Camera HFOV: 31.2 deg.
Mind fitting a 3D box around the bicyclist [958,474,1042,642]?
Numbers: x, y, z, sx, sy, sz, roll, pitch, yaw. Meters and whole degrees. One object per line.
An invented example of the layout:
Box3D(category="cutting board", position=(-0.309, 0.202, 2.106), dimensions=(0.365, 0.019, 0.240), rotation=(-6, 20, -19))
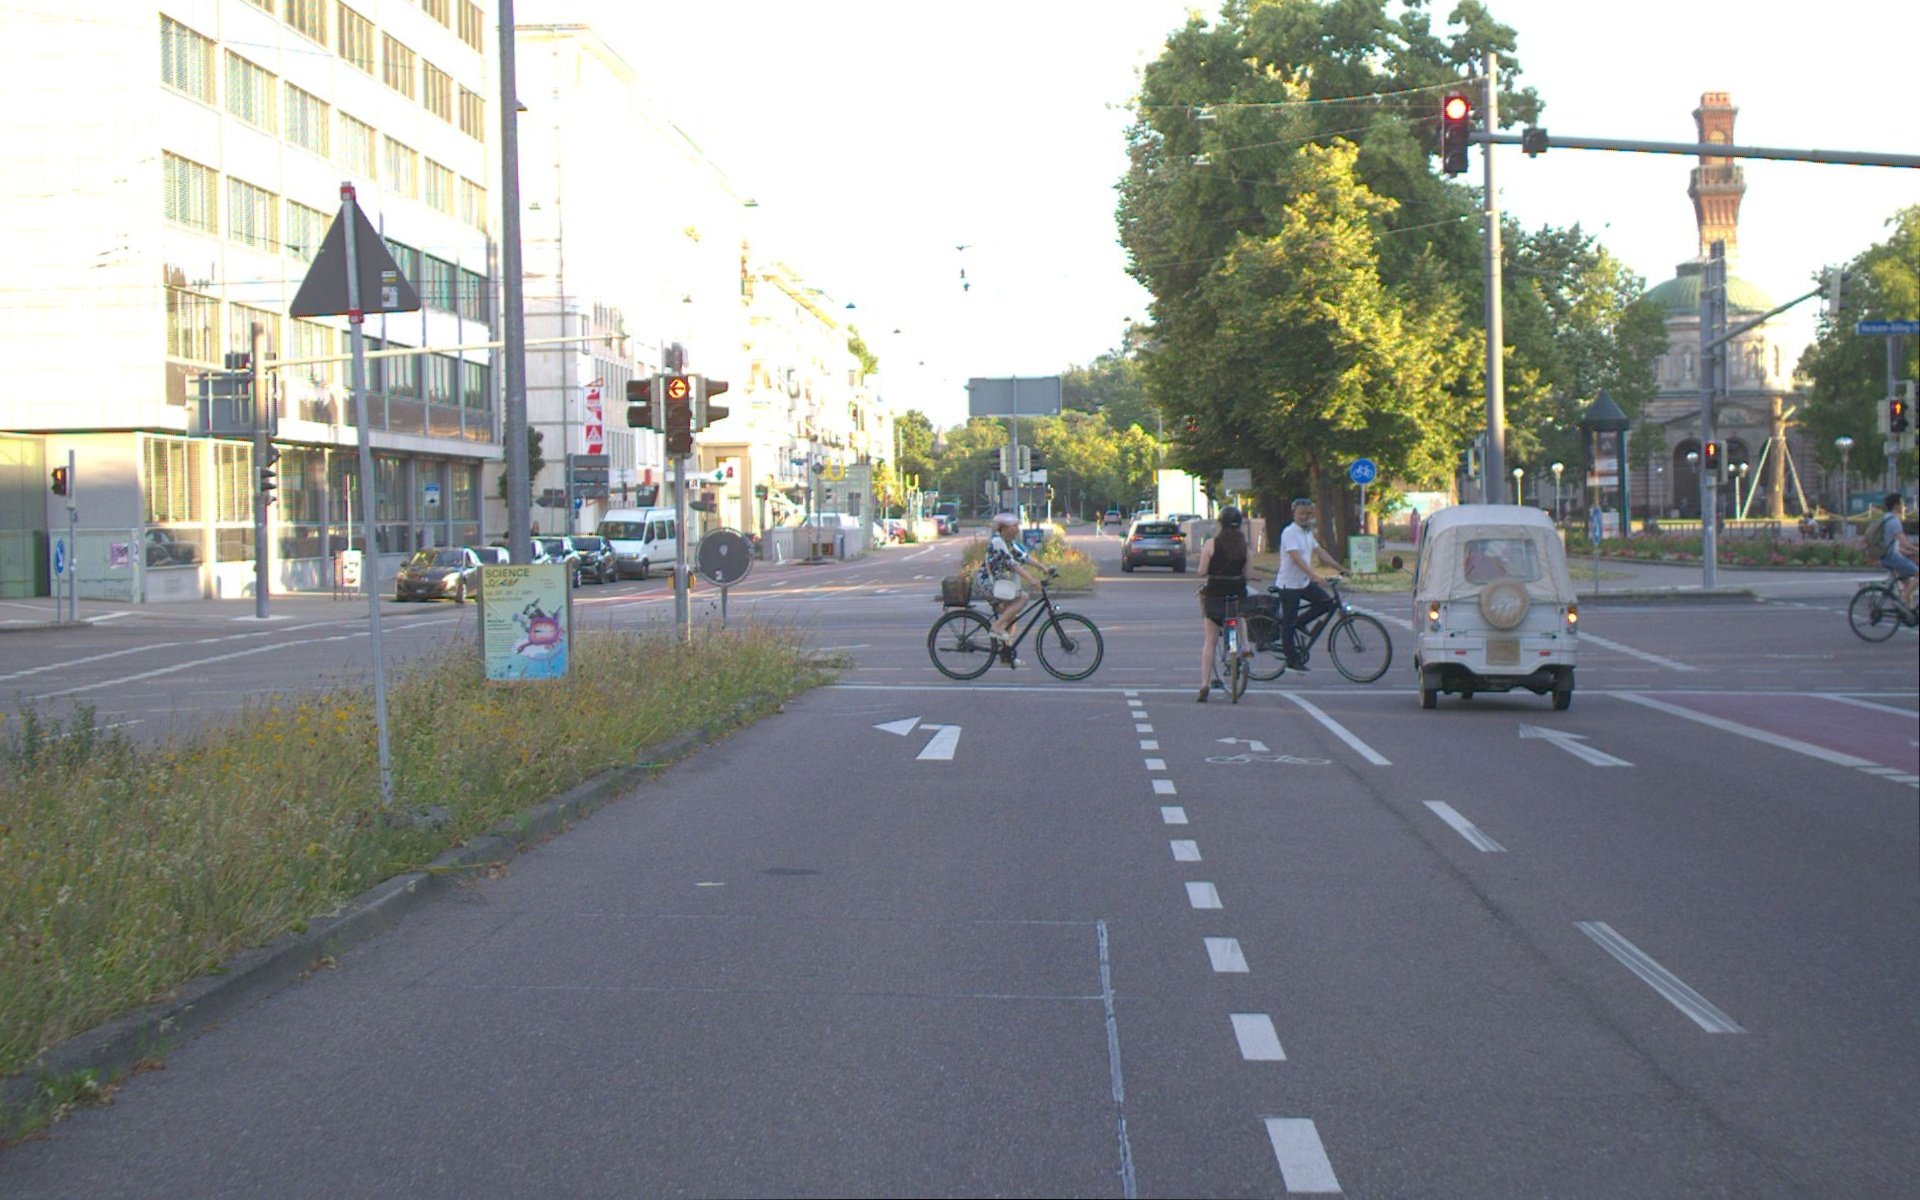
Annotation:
Box3D(category="bicyclist", position=(0.416, -0.434, 35.197), dimensions=(0.746, 1.687, 0.715), rotation=(-1, 1, 7))

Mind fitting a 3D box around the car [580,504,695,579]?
Box3D(category="car", position=(-11.230, -2.002, 120.200), dimensions=(2.178, 2.377, 5.985), rotation=(-1, -1, 13))

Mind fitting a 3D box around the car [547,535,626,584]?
Box3D(category="car", position=(-12.330, -1.339, 113.655), dimensions=(1.796, 1.470, 3.999), rotation=(-1, -1, 5))

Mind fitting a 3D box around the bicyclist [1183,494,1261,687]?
Box3D(category="bicyclist", position=(2.323, -0.090, 30.535), dimensions=(0.628, 1.687, 0.748), rotation=(-1, 1, 1))

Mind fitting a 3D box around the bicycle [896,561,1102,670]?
Box3D(category="bicycle", position=(0.405, 0.155, 35.218), dimensions=(2.015, 1.065, 0.731), rotation=(-1, 1, 7))

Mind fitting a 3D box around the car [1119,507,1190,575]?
Box3D(category="car", position=(5.936, -1.835, 105.370), dimensions=(1.993, 2.007, 4.000), rotation=(-1, 1, 1))

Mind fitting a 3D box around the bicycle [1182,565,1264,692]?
Box3D(category="bicycle", position=(2.348, 0.237, 30.857), dimensions=(0.637, 1.065, 2.069), rotation=(0, 1, 2))

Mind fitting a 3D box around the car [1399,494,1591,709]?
Box3D(category="car", position=(4.658, -0.025, 30.180), dimensions=(1.459, 1.774, 2.564), rotation=(0, 2, 4))

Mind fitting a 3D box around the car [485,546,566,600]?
Box3D(category="car", position=(-12.917, -0.794, 102.309), dimensions=(1.796, 1.470, 3.999), rotation=(-1, -1, 1))

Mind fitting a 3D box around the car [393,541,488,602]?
Box3D(category="car", position=(-13.660, -0.737, 90.552), dimensions=(1.796, 1.470, 4.000), rotation=(-1, -1, 1))

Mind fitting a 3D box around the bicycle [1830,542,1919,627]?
Box3D(category="bicycle", position=(12.047, -0.202, 43.568), dimensions=(1.897, 1.065, 0.731), rotation=(0, 1, 5))

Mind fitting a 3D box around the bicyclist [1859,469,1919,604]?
Box3D(category="bicyclist", position=(11.855, -0.810, 43.574), dimensions=(0.746, 1.687, 0.715), rotation=(-1, 1, 5))

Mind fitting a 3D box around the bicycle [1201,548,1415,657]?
Box3D(category="bicycle", position=(3.556, 0.027, 35.095), dimensions=(2.059, 1.065, 0.786), rotation=(-1, 1, 14))

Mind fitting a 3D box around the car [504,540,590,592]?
Box3D(category="car", position=(-12.863, -1.054, 107.275), dimensions=(1.796, 1.470, 3.999), rotation=(-1, -1, 6))

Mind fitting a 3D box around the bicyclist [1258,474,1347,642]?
Box3D(category="bicyclist", position=(3.498, -0.430, 35.096), dimensions=(0.746, 1.687, 0.764), rotation=(-1, 1, 16))
